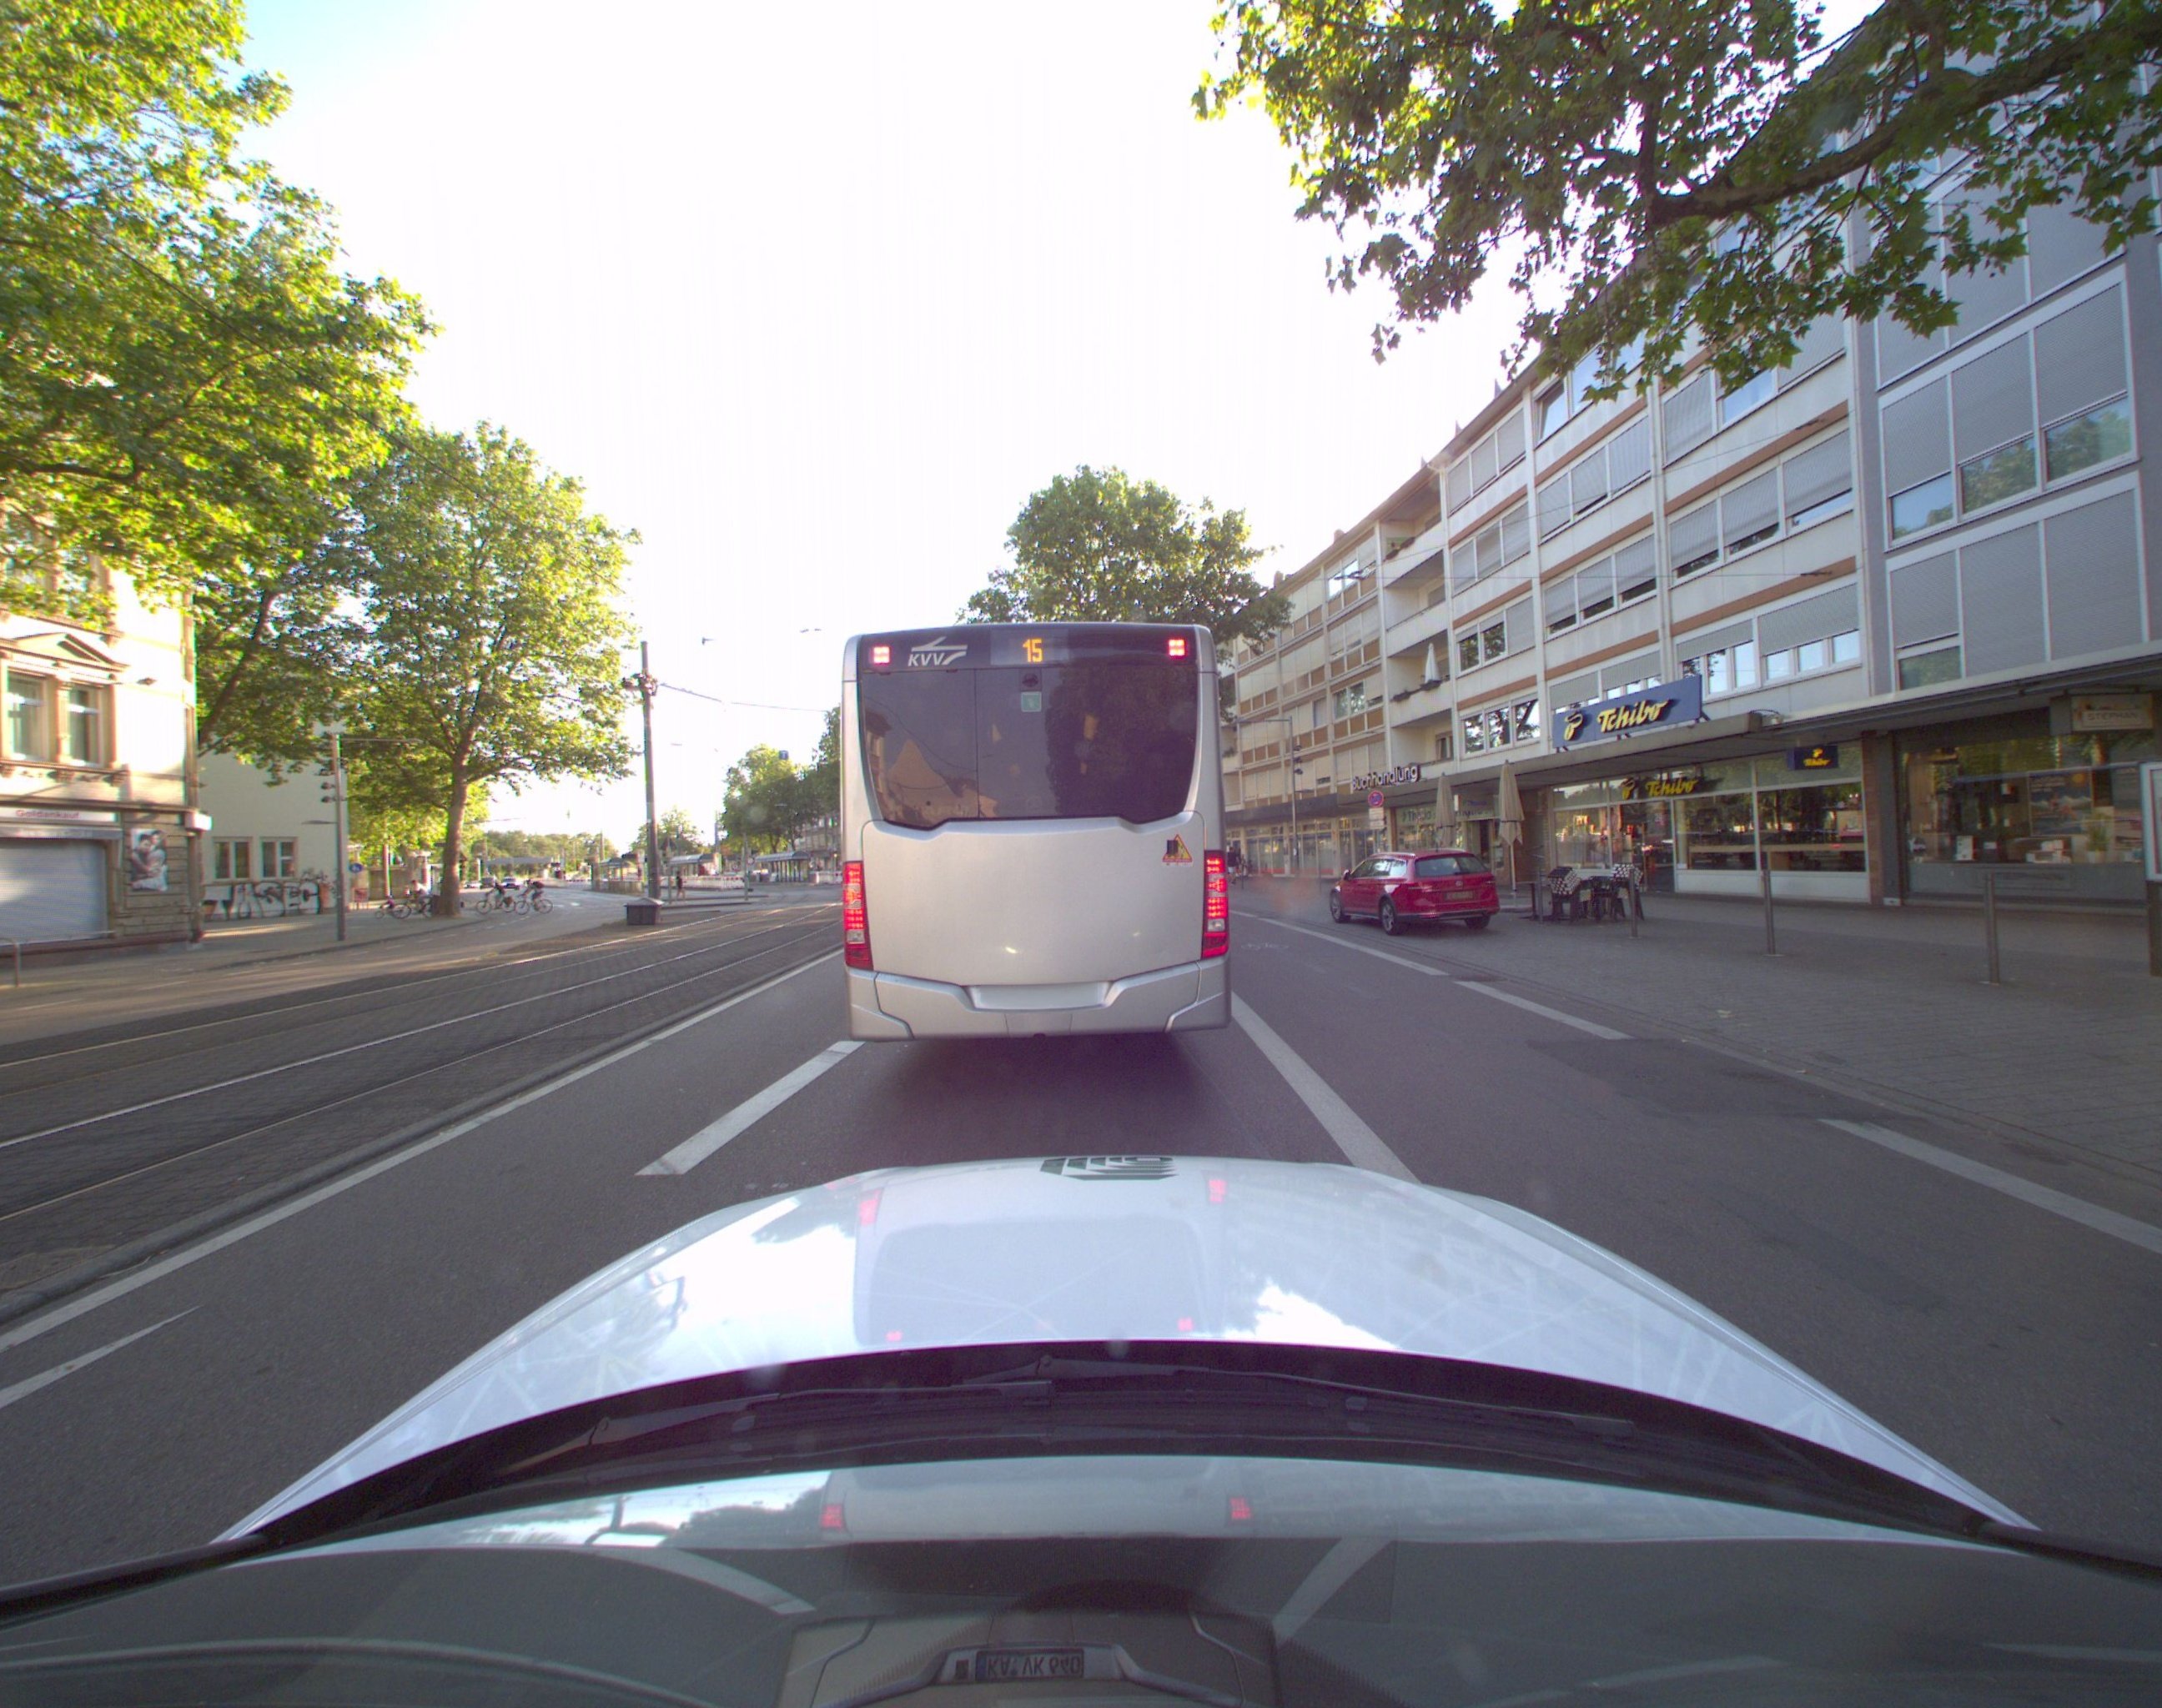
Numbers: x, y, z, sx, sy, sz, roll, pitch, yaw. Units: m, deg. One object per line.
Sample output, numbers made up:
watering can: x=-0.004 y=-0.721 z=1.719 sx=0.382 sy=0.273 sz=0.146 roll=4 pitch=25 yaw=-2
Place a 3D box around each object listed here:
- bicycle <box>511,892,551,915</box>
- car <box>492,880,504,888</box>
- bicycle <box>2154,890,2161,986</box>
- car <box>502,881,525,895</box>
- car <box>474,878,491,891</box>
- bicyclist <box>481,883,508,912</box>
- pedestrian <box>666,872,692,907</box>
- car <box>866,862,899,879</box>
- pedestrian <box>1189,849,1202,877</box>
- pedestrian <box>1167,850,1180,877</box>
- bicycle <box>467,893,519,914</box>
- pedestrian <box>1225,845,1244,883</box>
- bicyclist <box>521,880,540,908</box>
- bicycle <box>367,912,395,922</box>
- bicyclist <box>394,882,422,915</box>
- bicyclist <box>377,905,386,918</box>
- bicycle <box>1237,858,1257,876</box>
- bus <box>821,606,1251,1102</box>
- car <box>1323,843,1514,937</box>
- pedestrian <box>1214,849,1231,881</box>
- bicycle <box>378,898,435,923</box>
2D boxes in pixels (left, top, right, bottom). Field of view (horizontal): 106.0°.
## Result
bicycle: x=-26.816 y=2.408 z=39.726 sx=1.509 sy=0.985 sz=0.448 roll=-2 pitch=-1 yaw=-18
car: x=-117.866 y=6.079 z=164.752 sx=1.858 sy=1.684 sz=3.676 roll=-2 pitch=-1 yaw=-35
bicycle: x=8.624 y=0.716 z=5.393 sx=0.391 sy=0.939 sz=1.766 roll=-4 pitch=0 yaw=-18
car: x=-68.478 y=4.072 z=98.327 sx=2.008 sy=1.640 sz=3.958 roll=-2 pitch=-1 yaw=-33
car: x=-89.214 y=4.492 z=121.441 sx=1.807 sy=1.796 sz=3.957 roll=-2 pitch=-1 yaw=-34
bicyclist: x=-30.551 y=2.236 z=42.428 sx=0.840 sy=1.444 sz=0.753 roll=-2 pitch=-1 yaw=-13
pedestrian: x=-19.935 y=1.760 z=40.351 sx=0.994 sy=1.686 sz=0.642 roll=-1 pitch=-2 yaw=-10
car: x=-21.745 y=1.802 z=89.005 sx=2.010 sy=1.792 sz=3.954 roll=0 pitch=-1 yaw=-39
pedestrian: x=6.848 y=0.541 z=48.682 sx=0.536 sy=1.648 sz=0.612 roll=-2 pitch=-1 yaw=-15
pedestrian: x=5.802 y=0.575 z=50.933 sx=0.536 sy=1.648 sz=0.612 roll=-2 pitch=-1 yaw=-15
bicycle: x=-30.614 y=2.576 z=42.409 sx=2.020 sy=0.937 sz=0.757 roll=-2 pitch=-1 yaw=-13
pedestrian: x=7.189 y=0.472 z=38.103 sx=0.646 sy=1.717 sz=0.557 roll=-2 pitch=-1 yaw=-14
bicyclist: x=-26.855 y=1.944 z=39.725 sx=0.640 sy=1.293 sz=0.454 roll=-2 pitch=-1 yaw=-18
bicycle: x=-33.077 y=2.984 z=38.470 sx=0.965 sy=0.399 sz=0.287 roll=-2 pitch=-1 yaw=-35
bicyclist: x=-31.165 y=2.052 z=37.709 sx=0.843 sy=1.444 sz=0.621 roll=-2 pitch=-1 yaw=-26
bicyclist: x=-33.064 y=2.722 z=38.494 sx=0.310 sy=0.590 sz=0.277 roll=-2 pitch=-1 yaw=-35
bicycle: x=9.297 y=0.736 z=45.653 sx=0.413 sy=0.945 sz=1.431 roll=-2 pitch=-1 yaw=-18
bus: x=-0.134 y=0.030 z=10.047 sx=2.621 sy=3.028 sz=10.000 roll=-1 pitch=0 yaw=2
car: x=6.360 y=0.627 z=15.934 sx=1.765 sy=1.482 sz=4.300 roll=-4 pitch=0 yaw=-2
pedestrian: x=7.062 y=0.553 z=40.683 sx=0.646 sy=1.581 sz=0.557 roll=-2 pitch=-1 yaw=-14
bicycle: x=-31.176 y=2.606 z=37.684 sx=1.918 sy=1.005 sz=0.615 roll=-2 pitch=-1 yaw=-27
